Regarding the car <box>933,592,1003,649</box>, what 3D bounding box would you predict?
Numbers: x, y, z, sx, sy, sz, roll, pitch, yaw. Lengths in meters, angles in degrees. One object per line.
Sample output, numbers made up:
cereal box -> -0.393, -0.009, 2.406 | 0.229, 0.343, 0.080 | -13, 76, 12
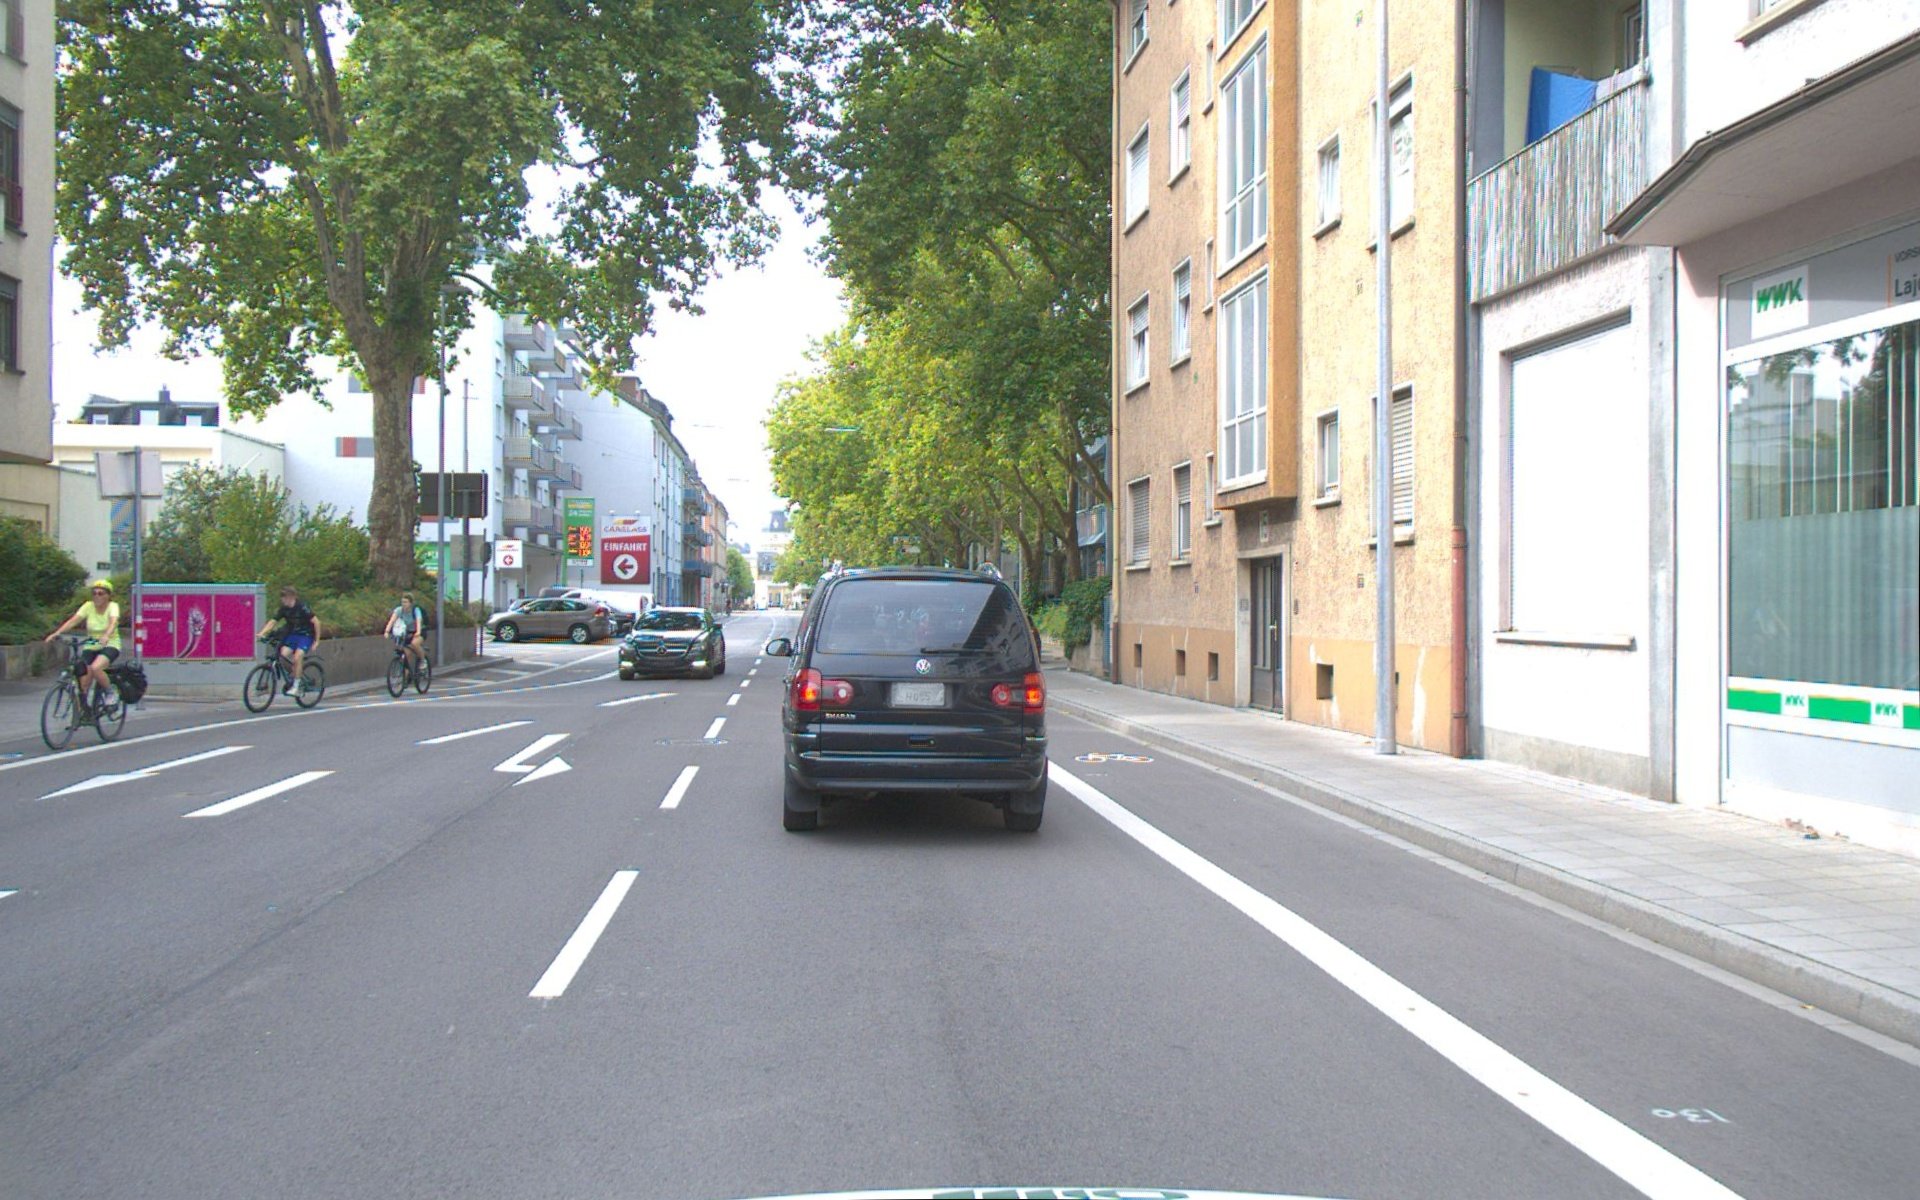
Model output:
car -> 0.214, 0.635, 53.483 | 1.626, 1.679, 4.412 | 2, 0, -8

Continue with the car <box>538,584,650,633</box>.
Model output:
car -> -15.856, 0.386, 71.888 | 4.438, 1.911, 2.044 | 2, 0, -5

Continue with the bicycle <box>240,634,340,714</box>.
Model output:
bicycle -> -9.797, 1.056, 24.263 | 0.723, 1.024, 1.975 | 2, 1, -3

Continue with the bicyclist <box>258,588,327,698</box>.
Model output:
bicyclist -> -9.792, 0.622, 24.286 | 0.644, 1.552, 0.856 | 2, 1, -2

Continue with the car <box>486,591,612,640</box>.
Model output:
car -> -15.004, 0.555, 60.530 | 4.174, 1.633, 1.966 | 2, 1, -6

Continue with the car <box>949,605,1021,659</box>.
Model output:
car -> 0.690, 0.908, 48.183 | 1.626, 1.447, 3.941 | 0, 1, -6

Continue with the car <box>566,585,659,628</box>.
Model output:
car -> -17.017, 0.308, 81.165 | 4.226, 1.902, 1.821 | 2, -1, -8

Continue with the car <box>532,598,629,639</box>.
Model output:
car -> -15.384, 0.750, 67.183 | 3.612, 1.511, 1.750 | 2, 0, -7

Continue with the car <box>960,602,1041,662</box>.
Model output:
car -> 1.033, 0.809, 43.556 | 1.626, 1.447, 3.861 | 0, 1, -6

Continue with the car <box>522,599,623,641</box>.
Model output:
car -> -15.264, 0.783, 65.297 | 3.612, 1.451, 1.751 | 2, 0, -7

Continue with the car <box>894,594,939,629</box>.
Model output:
car -> -1.968, 0.506, 73.909 | 1.599, 1.495, 4.311 | 1, 0, -7

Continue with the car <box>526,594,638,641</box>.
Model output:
car -> -14.376, 0.666, 63.046 | 3.863, 1.597, 1.752 | 2, 0, -4

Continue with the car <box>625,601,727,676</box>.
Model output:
car -> -5.816, 0.751, 34.290 | 1.775, 1.432, 4.602 | 0, 0, -6

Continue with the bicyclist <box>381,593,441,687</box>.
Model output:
bicyclist -> -9.457, 0.677, 28.520 | 0.644, 1.552, 1.076 | 2, 1, -2

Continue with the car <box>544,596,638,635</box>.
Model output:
car -> -15.434, 0.654, 69.309 | 3.612, 1.470, 1.751 | 2, 0, -7

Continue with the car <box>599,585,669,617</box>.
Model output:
car -> -16.451, 0.064, 83.580 | 3.280, 1.523, 1.593 | 2, -1, -8

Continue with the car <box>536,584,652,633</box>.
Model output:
car -> -16.422, 0.389, 74.387 | 4.822, 1.936, 1.997 | 3, -1, -7

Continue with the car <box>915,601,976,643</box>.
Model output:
car -> -0.559, 0.768, 58.282 | 1.644, 1.418, 4.454 | 1, 0, -7

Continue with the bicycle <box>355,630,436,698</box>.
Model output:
bicycle -> -9.755, 1.092, 28.650 | 0.723, 1.024, 2.194 | 2, 1, -3

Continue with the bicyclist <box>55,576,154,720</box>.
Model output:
bicyclist -> -9.535, 0.517, 18.458 | 0.644, 1.552, 0.840 | 2, 1, -2

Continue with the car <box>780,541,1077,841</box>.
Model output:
car -> -0.374, 0.540, 11.928 | 1.777, 1.797, 3.733 | 1, 1, -6

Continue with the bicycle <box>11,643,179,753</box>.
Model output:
bicycle -> -9.566, 1.050, 18.400 | 0.722, 1.024, 2.251 | 2, 1, -2

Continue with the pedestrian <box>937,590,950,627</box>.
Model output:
pedestrian -> -0.914, 0.475, 91.542 | 0.630, 2.010, 0.691 | 2, 1, -5
